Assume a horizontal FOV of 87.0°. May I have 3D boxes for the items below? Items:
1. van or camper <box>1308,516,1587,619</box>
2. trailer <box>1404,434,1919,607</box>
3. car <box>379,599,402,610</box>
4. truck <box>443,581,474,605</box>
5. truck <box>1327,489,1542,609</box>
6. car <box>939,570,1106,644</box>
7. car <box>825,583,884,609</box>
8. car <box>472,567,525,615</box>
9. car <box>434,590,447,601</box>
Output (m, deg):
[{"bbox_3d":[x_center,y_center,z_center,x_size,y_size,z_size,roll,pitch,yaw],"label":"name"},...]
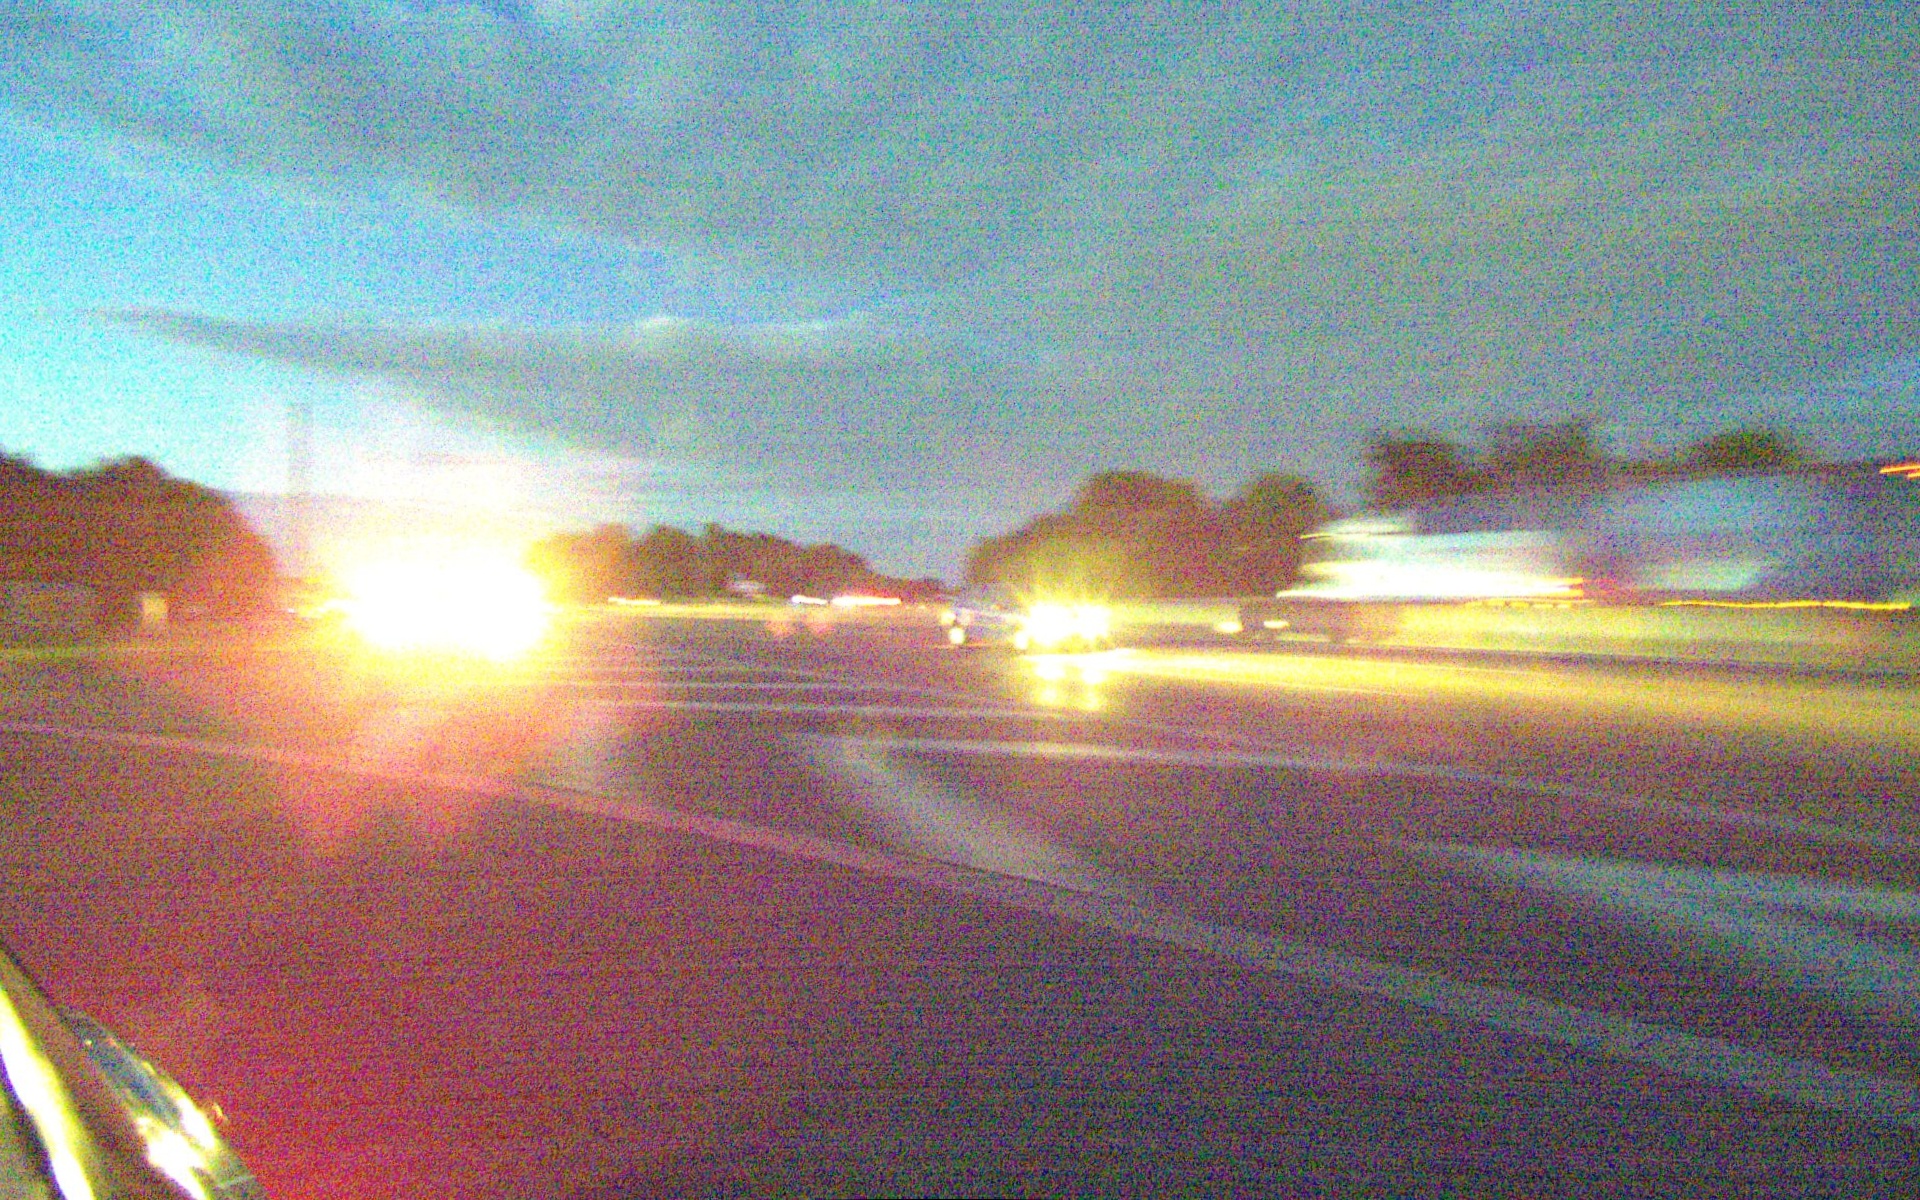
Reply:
[{"bbox_3d":[13.622,-0.859,28.992,1.966,2.569,7.203,-2,1,-33],"label":"van or camper"},{"bbox_3d":[19.389,-1.830,28.092,2.721,3.844,13.799,-2,1,-32],"label":"trailer"},{"bbox_3d":[-64.025,0.534,113.798,1.654,1.143,4.008,-2,1,-38],"label":"car"},{"bbox_3d":[-96.899,-1.284,195.467,3.171,4.484,12.792,-2,1,-36],"label":"truck"},{"bbox_3d":[15.715,-1.594,33.915,2.721,3.622,5.979,-2,1,-33],"label":"truck"},{"bbox_3d":[1.217,0.120,21.137,1.703,1.379,3.641,-2,1,-30],"label":"car"},{"bbox_3d":[-5.662,-0.200,53.926,1.601,1.287,4.012,-2,1,-30],"label":"car"},{"bbox_3d":[-35.190,-0.670,77.004,2.510,3.448,7.805,-2,1,-32],"label":"car"},{"bbox_3d":[-105.431,-0.845,205.344,1.967,2.217,4.010,-2,1,-34],"label":"car"}]
